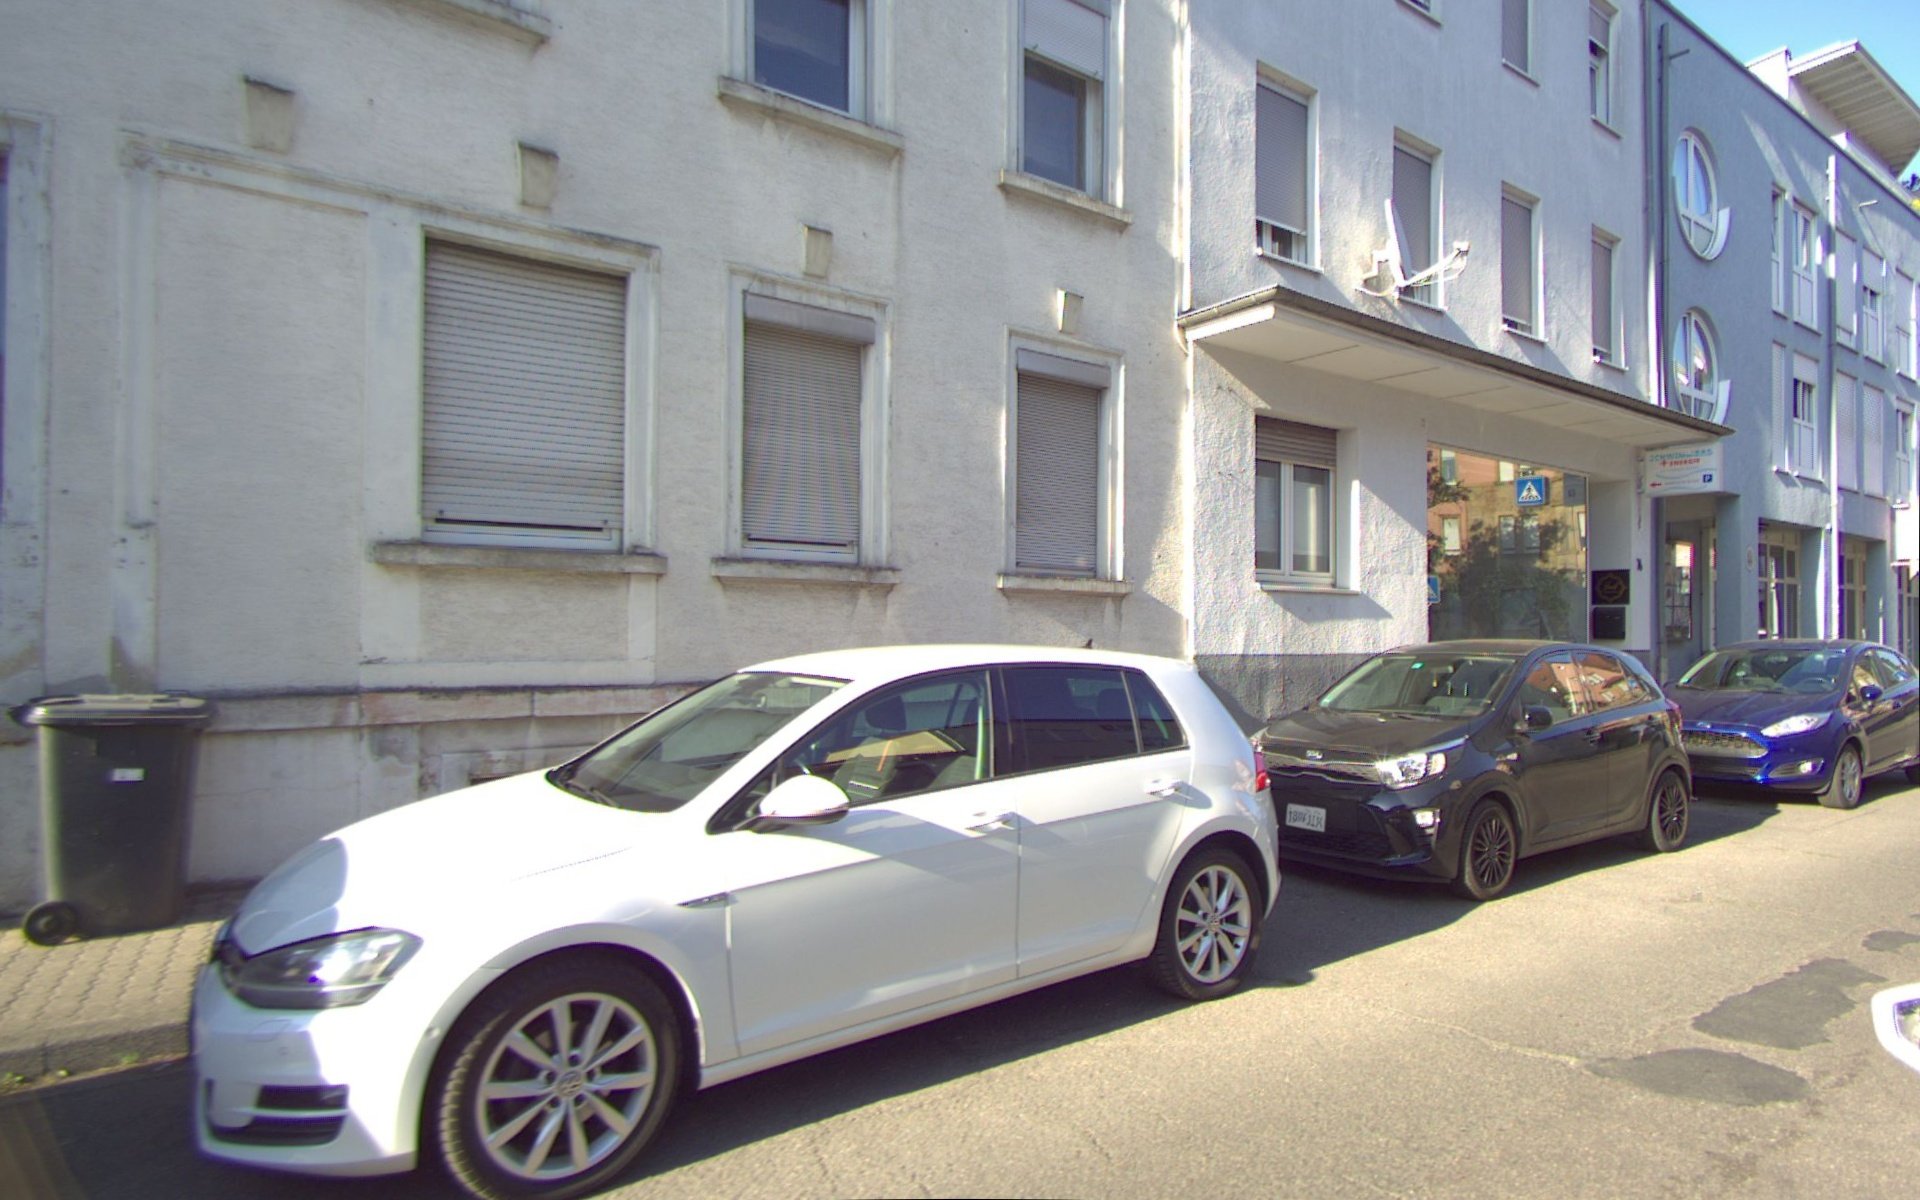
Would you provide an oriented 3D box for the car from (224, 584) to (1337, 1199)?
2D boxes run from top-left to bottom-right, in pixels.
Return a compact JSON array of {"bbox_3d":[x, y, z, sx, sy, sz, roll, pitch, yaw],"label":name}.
[{"bbox_3d":[-0.440,0.795,4.132,4.085,1.515,1.753,2,-2,-35],"label":"car"}]

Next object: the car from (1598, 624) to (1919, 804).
[{"bbox_3d":[8.415,1.017,10.245,3.915,1.519,1.722,1,-2,-32],"label":"car"}]

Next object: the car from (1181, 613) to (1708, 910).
[{"bbox_3d":[3.476,0.888,7.002,3.769,1.546,1.650,1,-1,-34],"label":"car"}]
